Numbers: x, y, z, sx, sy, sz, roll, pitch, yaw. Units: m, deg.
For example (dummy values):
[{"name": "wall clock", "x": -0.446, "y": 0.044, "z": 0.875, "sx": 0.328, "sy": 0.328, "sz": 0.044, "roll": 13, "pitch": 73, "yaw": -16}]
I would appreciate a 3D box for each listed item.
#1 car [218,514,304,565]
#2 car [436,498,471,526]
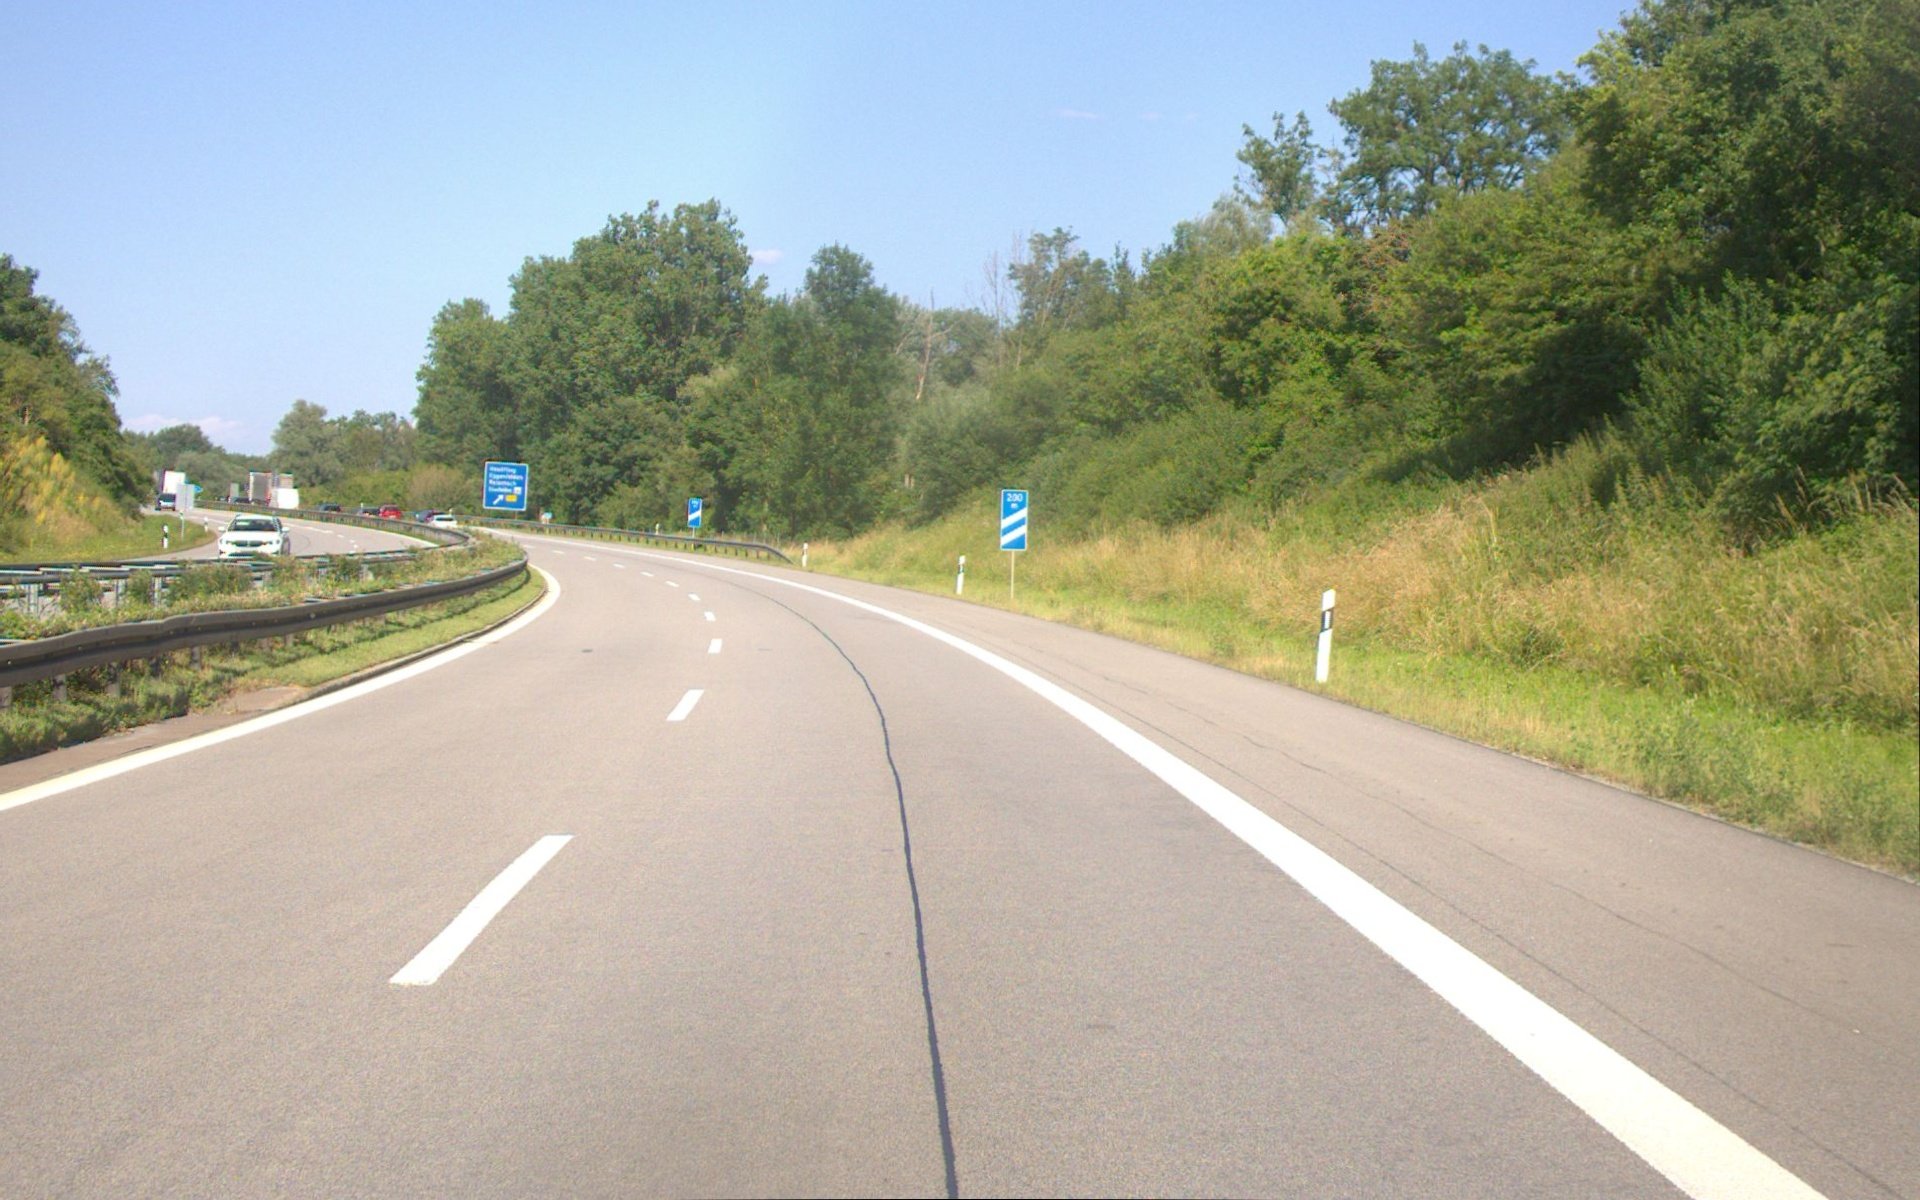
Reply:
[{"name": "car", "x": -20.466, "y": -1.784, "z": 100.782, "sx": 1.899, "sy": 1.417, "sz": 4.399, "roll": 0, "pitch": 2, "yaw": -4}, {"name": "car", "x": -32.209, "y": -5.593, "z": 218.465, "sx": 2.061, "sy": 1.619, "sz": 4.001, "roll": 2, "pitch": -1, "yaw": -10}]
